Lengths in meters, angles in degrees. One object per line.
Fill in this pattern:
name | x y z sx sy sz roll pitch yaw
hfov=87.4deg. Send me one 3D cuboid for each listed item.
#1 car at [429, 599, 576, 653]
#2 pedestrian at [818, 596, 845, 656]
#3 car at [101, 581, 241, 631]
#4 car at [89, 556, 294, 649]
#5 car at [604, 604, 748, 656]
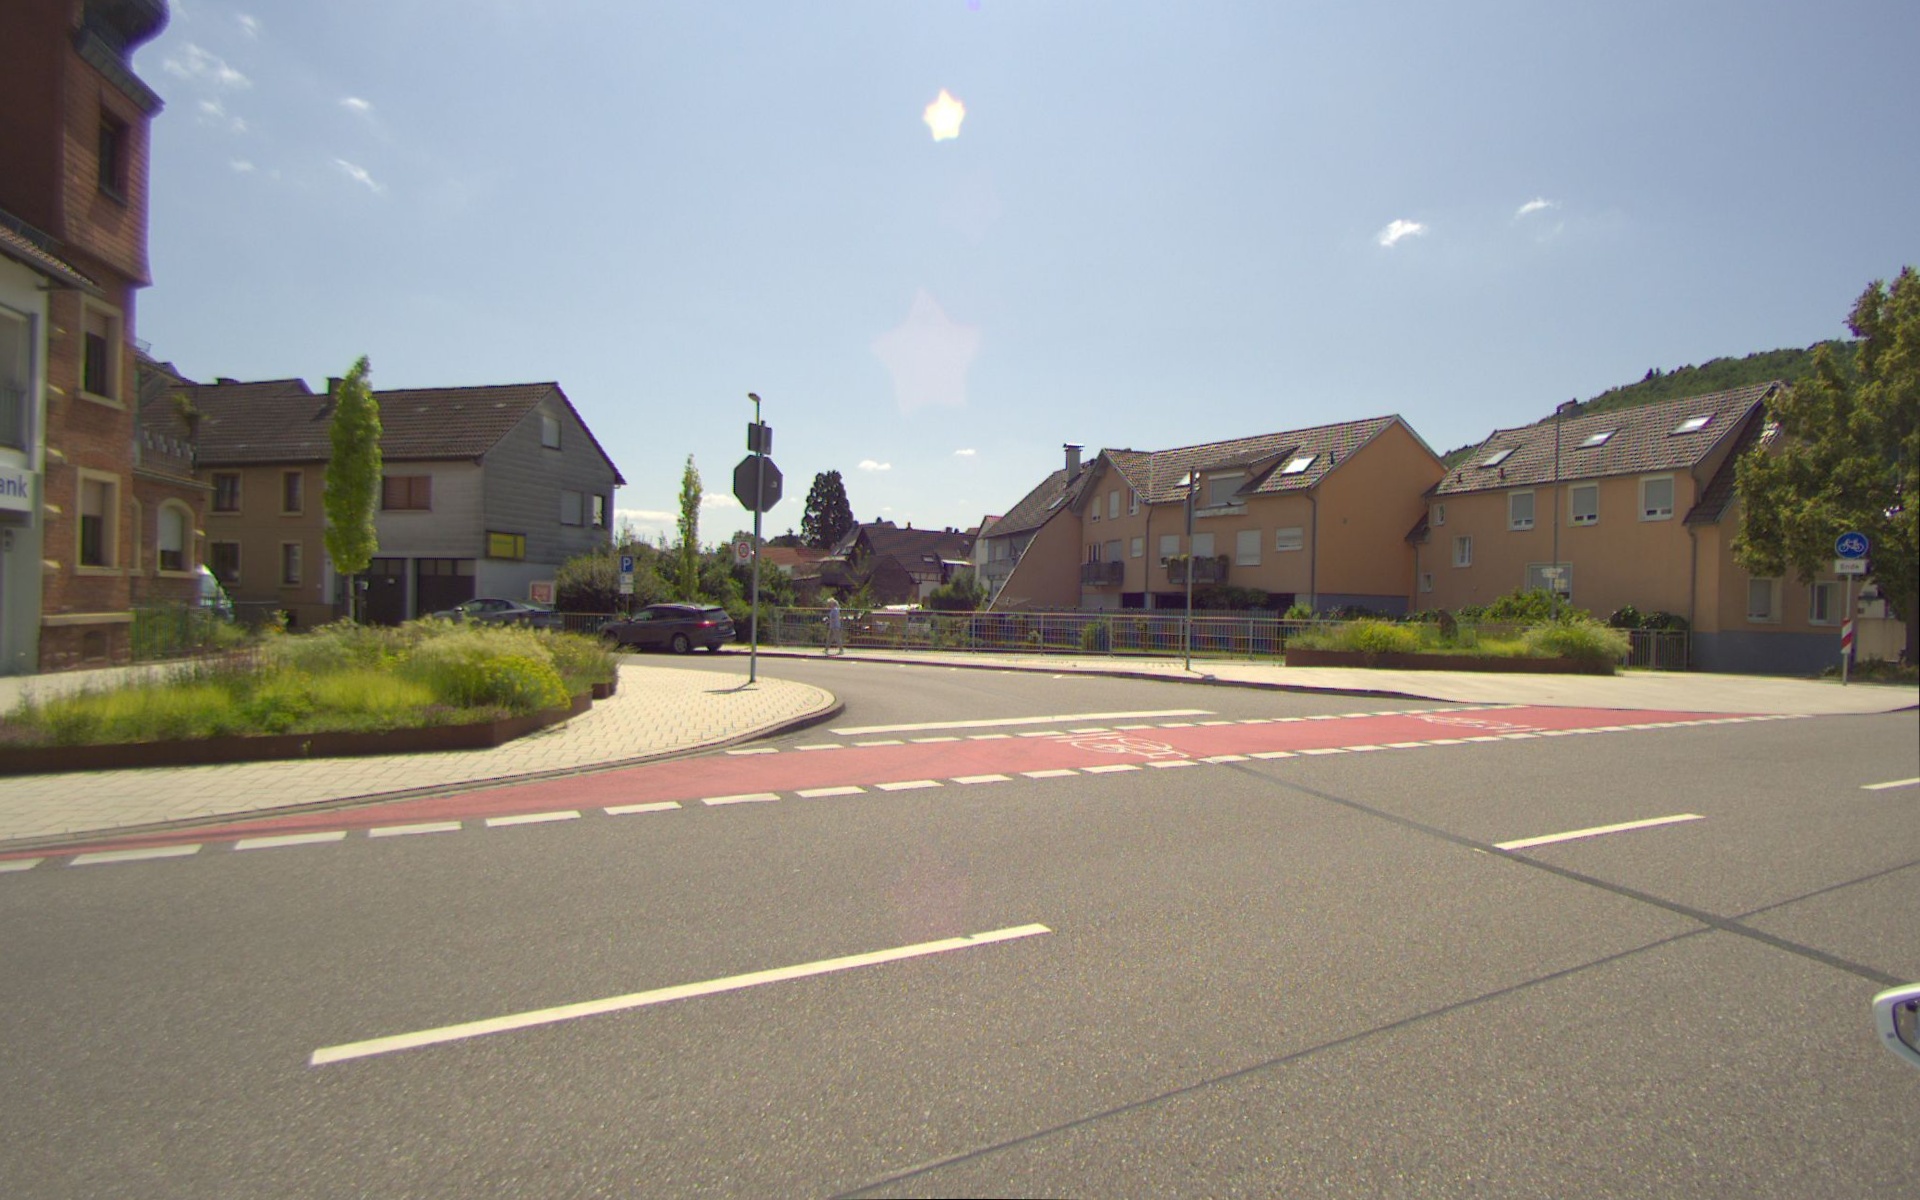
car | -14.748 0.834 32.383 4.149 1.567 1.789 1 -1 18
pedestrian | -3.829 0.765 29.979 0.603 1.772 0.506 1 0 24
car | -29.744 0.240 37.904 3.919 1.750 2.071 1 -1 12
car | -21.258 0.059 27.795 5.012 2.376 2.173 1 -1 22
car | -8.778 0.896 31.113 3.921 1.483 1.861 1 0 20
